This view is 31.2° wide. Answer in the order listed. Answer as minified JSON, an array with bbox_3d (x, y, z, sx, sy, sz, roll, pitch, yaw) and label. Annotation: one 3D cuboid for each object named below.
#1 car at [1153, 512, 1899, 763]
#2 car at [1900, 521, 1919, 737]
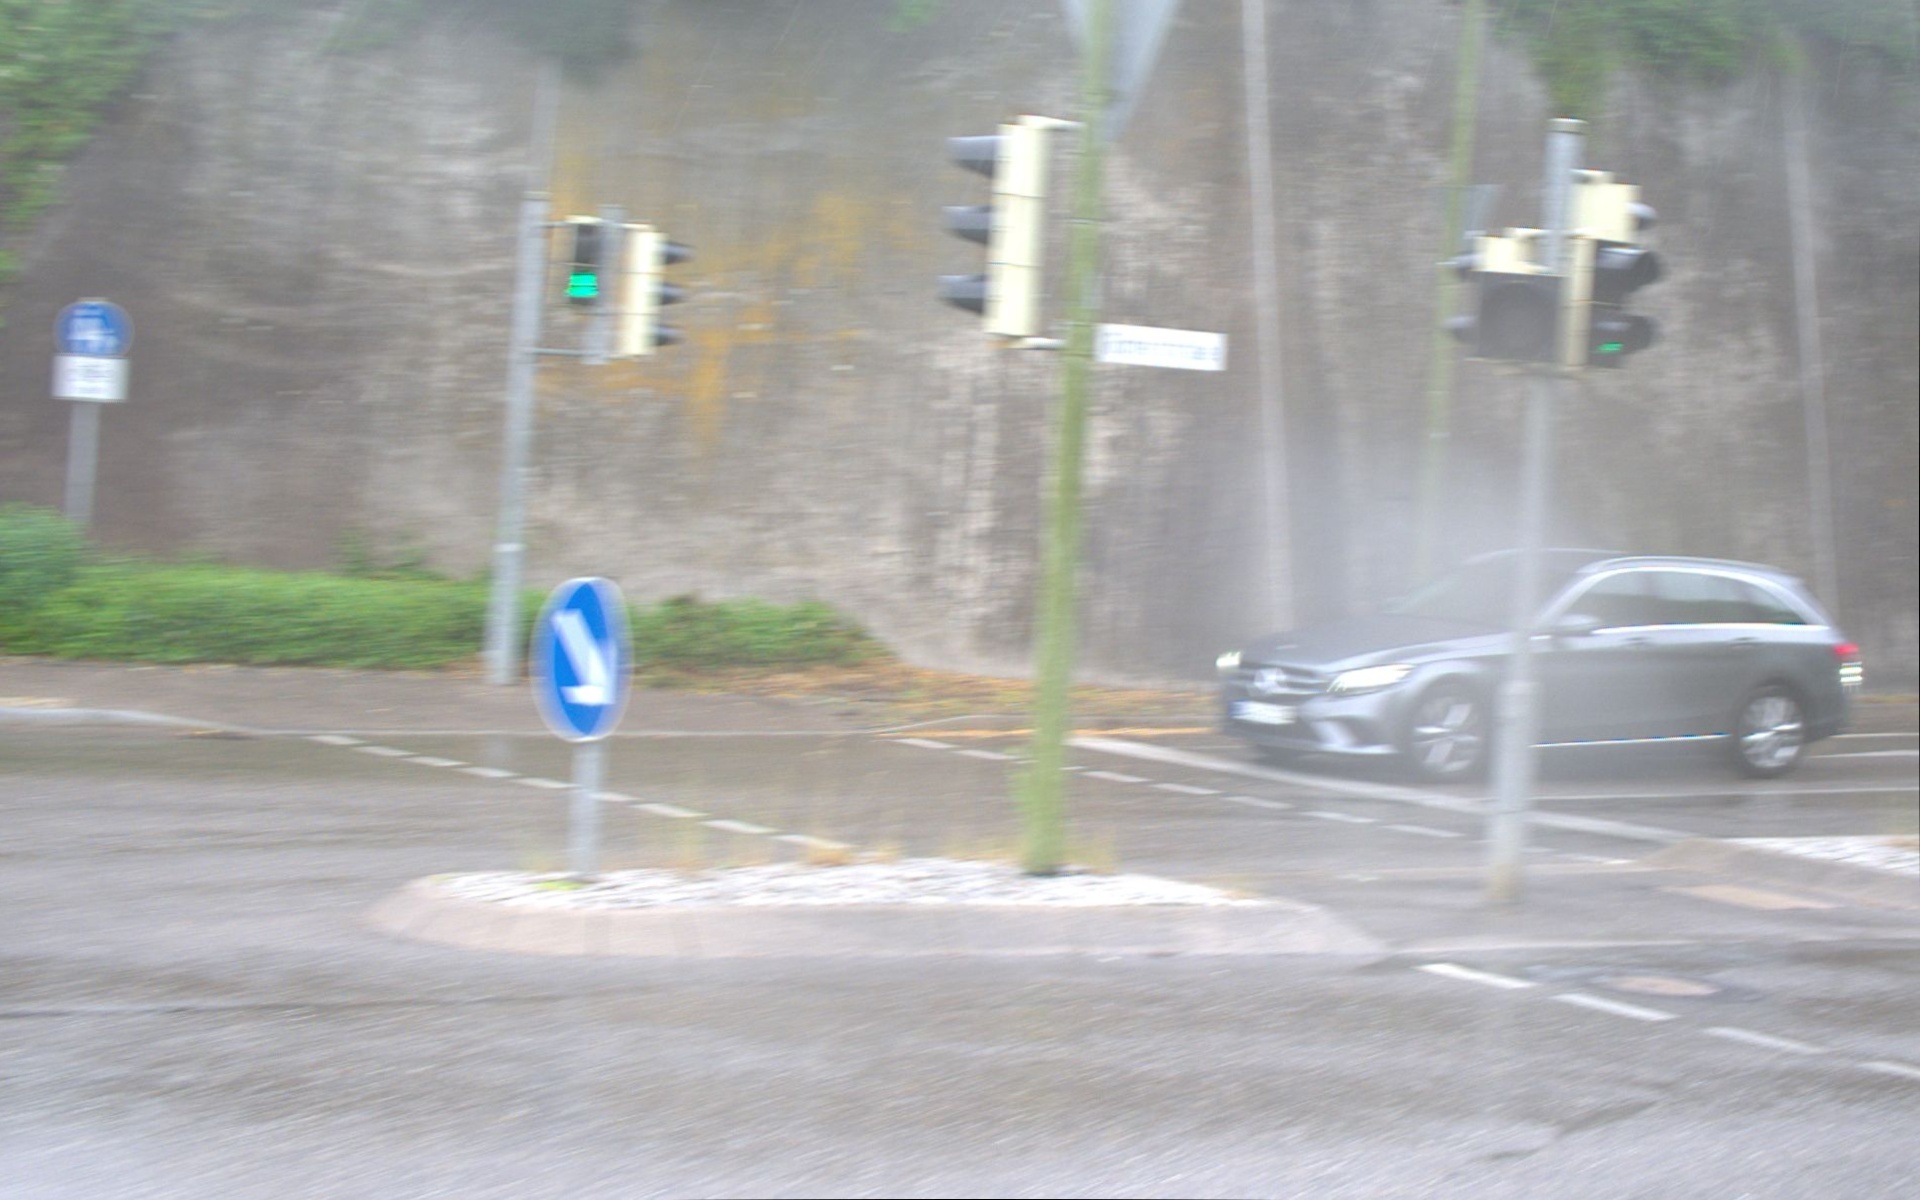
[{"bbox_3d":[3.803,0.237,22.822,4.713,1.498,2.000,1,1,-32],"label":"car"},{"bbox_3d":[9.446,0.285,26.799,4.037,1.652,1.821,1,1,-33],"label":"car"}]
